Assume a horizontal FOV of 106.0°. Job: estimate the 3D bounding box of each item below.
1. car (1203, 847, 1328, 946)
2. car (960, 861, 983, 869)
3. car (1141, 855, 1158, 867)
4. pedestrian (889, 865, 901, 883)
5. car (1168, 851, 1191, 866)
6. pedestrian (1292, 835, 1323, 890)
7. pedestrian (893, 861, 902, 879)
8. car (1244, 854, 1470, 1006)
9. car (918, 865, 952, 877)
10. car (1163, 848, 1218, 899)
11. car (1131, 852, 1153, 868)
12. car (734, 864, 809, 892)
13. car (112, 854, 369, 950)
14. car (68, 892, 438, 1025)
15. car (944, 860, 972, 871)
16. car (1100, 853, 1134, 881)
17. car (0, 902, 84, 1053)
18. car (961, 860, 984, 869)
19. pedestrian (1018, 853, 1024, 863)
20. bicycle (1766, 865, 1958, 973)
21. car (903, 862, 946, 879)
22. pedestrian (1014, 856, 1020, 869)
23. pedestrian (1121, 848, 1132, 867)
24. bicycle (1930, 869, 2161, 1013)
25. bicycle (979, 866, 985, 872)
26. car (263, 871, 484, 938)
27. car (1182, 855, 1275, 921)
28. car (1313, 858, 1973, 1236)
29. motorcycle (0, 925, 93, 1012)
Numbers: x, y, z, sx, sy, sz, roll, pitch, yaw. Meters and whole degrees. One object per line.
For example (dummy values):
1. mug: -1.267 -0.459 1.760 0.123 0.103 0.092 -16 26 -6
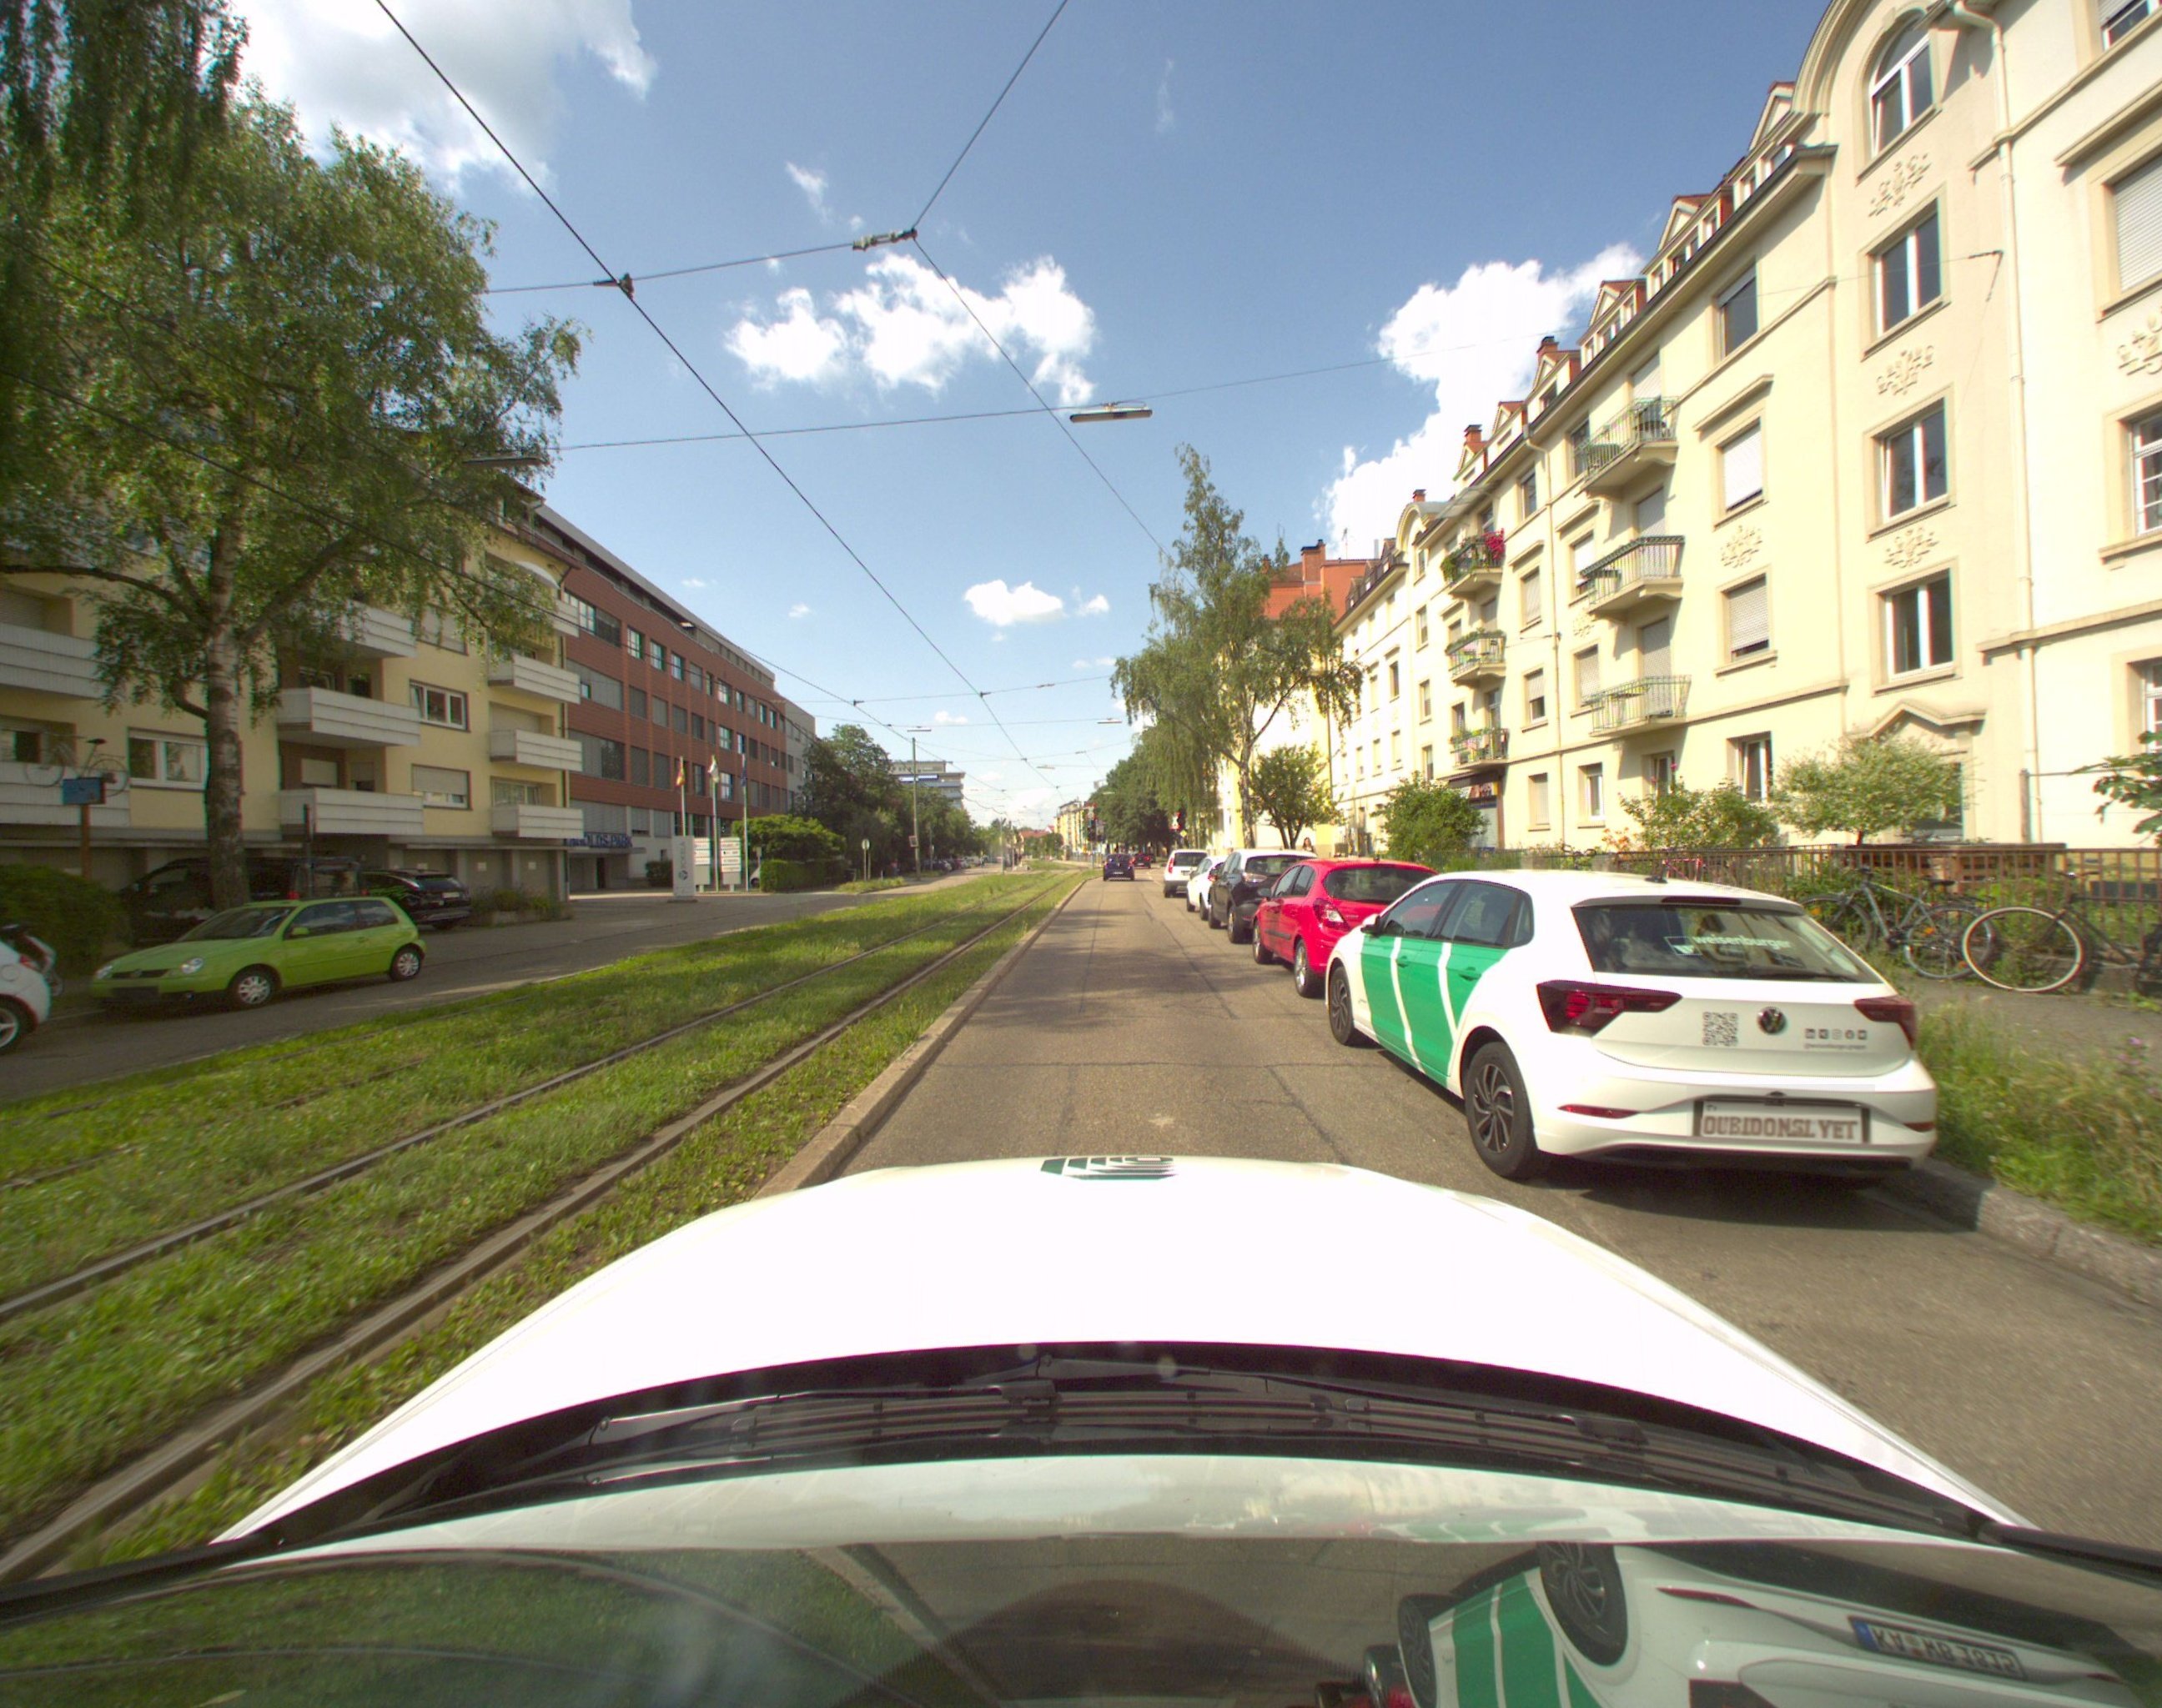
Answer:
1. car: 3.212 0.684 14.842 1.488 1.579 3.759 0 0 1
2. car: -20.370 2.034 151.428 1.618 1.385 4.025 -2 0 41
3. car: 9.054 0.858 108.014 1.854 1.445 4.002 -4 0 2
4. pedestrian: -16.987 1.839 74.420 0.742 1.574 0.890 -2 -2 5
5. car: 10.596 0.493 87.842 1.762 1.433 3.898 -3 0 -5
6. pedestrian: 7.166 0.264 25.780 0.726 1.683 0.692 -4 -1 5
7. pedestrian: -17.403 1.480 77.134 0.554 1.657 0.748 -2 -1 5
8. car: 3.115 0.760 9.983 1.583 1.452 3.846 1 0 2
9. car: -16.647 1.982 92.900 3.408 1.236 1.525 -2 0 -43
10. car: 3.717 0.623 28.208 1.713 1.629 4.005 0 0 5
11. car: 5.454 0.531 73.230 1.694 1.368 3.514 0 0 0
12. car: -19.795 1.521 52.157 3.975 1.596 1.999 -2 0 -1
13. car: -18.803 1.020 18.339 3.967 2.013 1.940 0 0 5
14. car: -11.811 1.394 12.016 1.587 1.432 3.617 -3 0 3
15. car: -19.039 1.789 126.295 4.024 1.367 1.695 -3 0 -45
16. car: 2.020 0.709 45.322 1.760 1.462 3.779 -2 0 3
17. car: -11.834 1.317 6.798 1.638 1.477 4.229 -4 0 3
18. car: -20.914 2.023 156.785 4.020 1.447 1.708 -2 0 -38
19. pedestrian: -8.380 0.564 113.652 0.648 1.426 0.567 -3 -1 33
20. bicycle: 7.649 0.589 8.075 0.386 0.938 1.586 -2 0 2
21. car: -16.621 1.789 86.725 4.156 1.640 1.704 -2 0 -43
22. pedestrian: -8.855 1.204 112.879 0.601 1.766 0.640 -2 -1 5
23. pedestrian: 4.497 0.336 80.298 0.869 1.775 1.002 -3 -1 -3
24. bicycle: 7.610 0.611 6.121 0.376 0.943 2.010 -2 0 2
25. bicycle: -16.469 2.448 135.951 0.678 0.971 2.178 -3 0 0
26. car: -18.110 1.257 20.991 3.971 1.602 1.974 0 0 2
27. car: 3.460 0.754 19.732 1.666 1.417 3.796 1 0 2
28. car: 2.796 0.773 5.206 1.613 1.452 3.920 1 0 2
29. motorcycle: -14.089 1.507 10.551 0.497 1.043 1.633 1 -1 2
